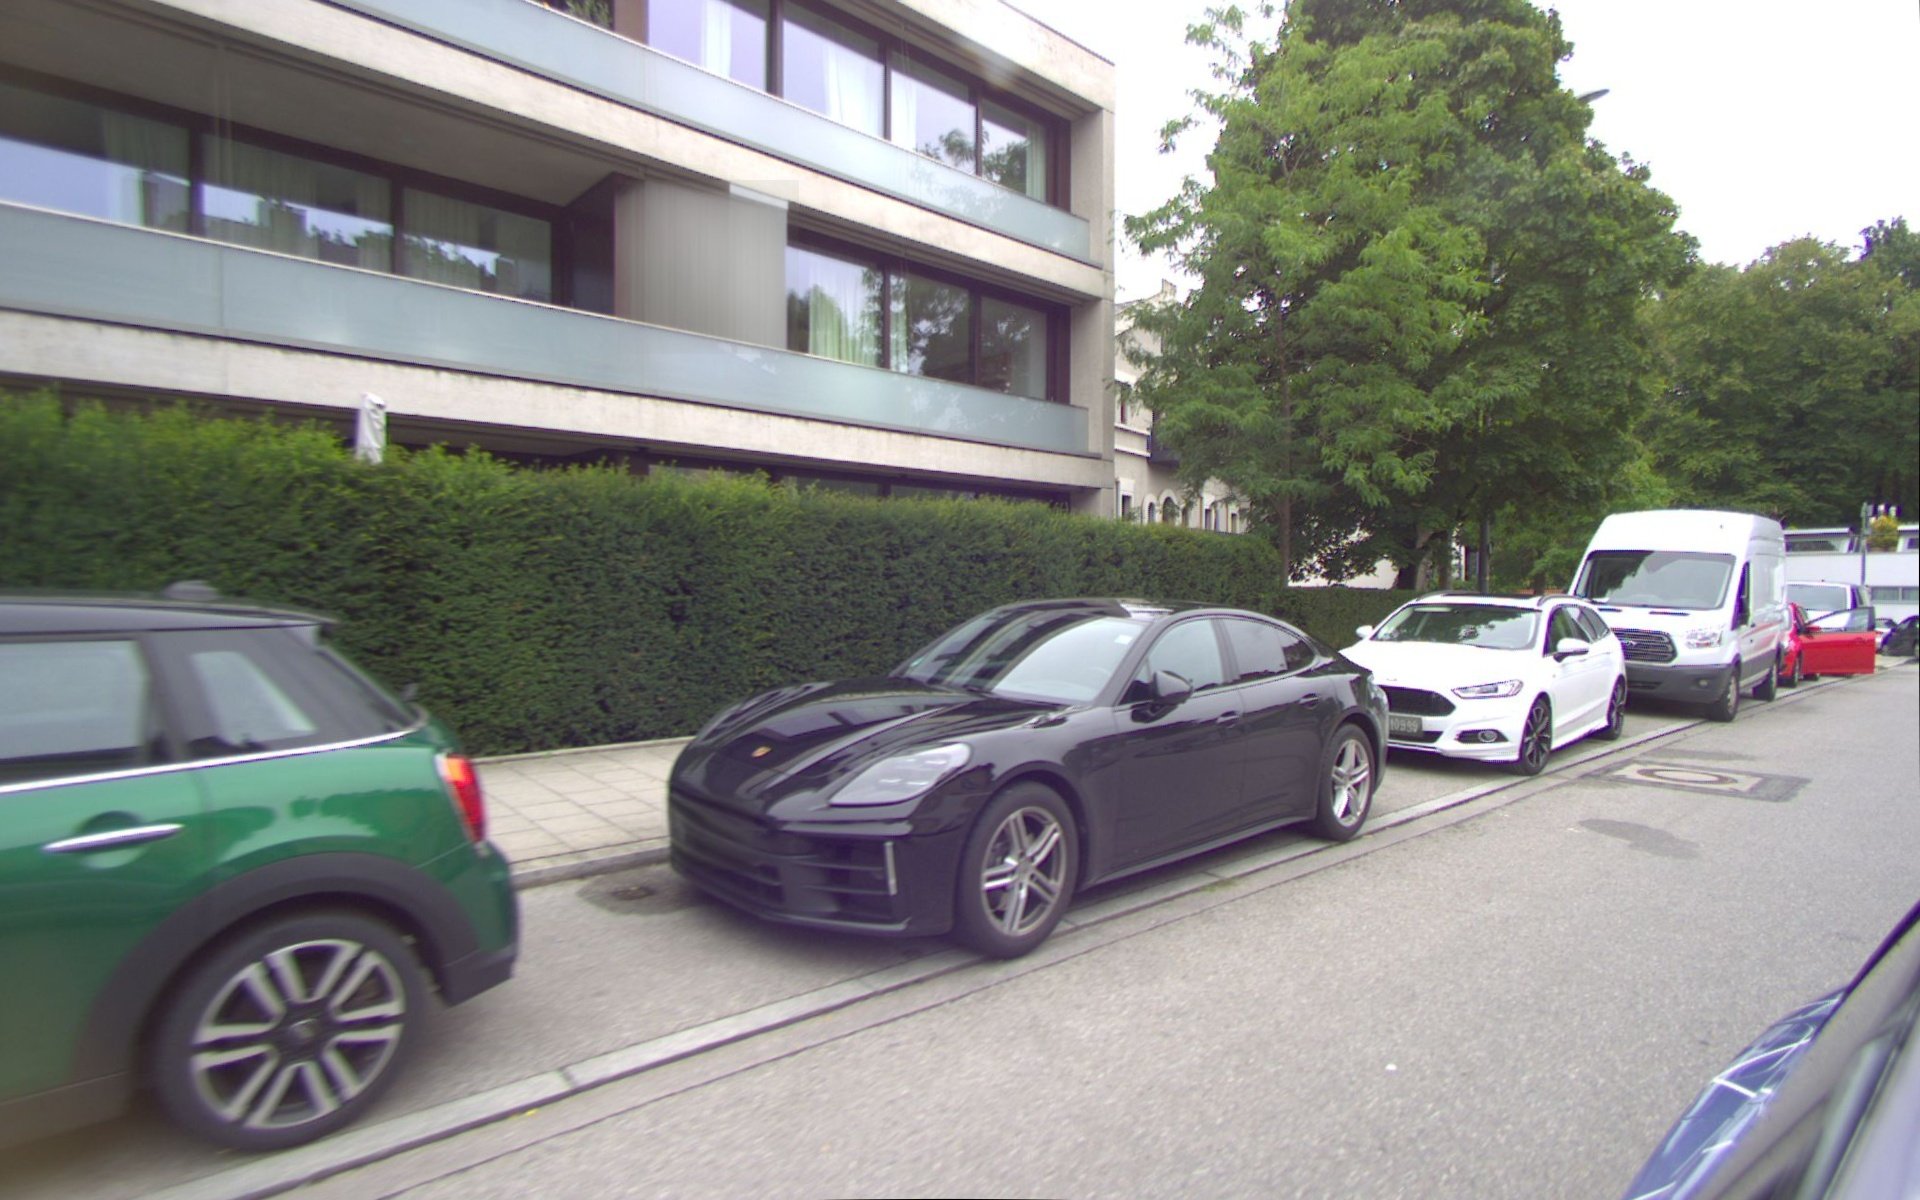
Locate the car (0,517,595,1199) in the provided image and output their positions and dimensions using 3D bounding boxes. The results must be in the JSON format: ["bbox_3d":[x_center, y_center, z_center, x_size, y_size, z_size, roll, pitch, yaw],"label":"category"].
[{"bbox_3d":[-3.230,0.556,2.354,4.132,1.548,1.730,0,2,-42],"label":"car"}]

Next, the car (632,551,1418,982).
[{"bbox_3d":[0.850,0.587,5.820,5.118,1.525,1.283,0,2,-42],"label":"car"}]

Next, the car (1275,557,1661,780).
[{"bbox_3d":[5.136,0.492,9.833,1.872,1.589,4.920,4,2,45],"label":"car"}]

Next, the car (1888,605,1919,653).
[{"bbox_3d":[30.648,0.904,31.265,1.879,1.465,3.974,-2,-3,27],"label":"car"}]

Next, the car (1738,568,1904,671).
[{"bbox_3d":[18.659,0.361,21.848,4.983,1.928,1.939,0,2,-41],"label":"car"}]

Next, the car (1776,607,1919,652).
[{"bbox_3d":[31.742,1.051,35.997,1.902,1.465,4.019,2,-2,-8],"label":"car"}]

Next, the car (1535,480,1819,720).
[{"bbox_3d":[10.303,-0.027,14.297,5.986,2.719,2.082,1,2,-44],"label":"car"}]

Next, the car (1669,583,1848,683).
[{"bbox_3d":[14.716,0.526,18.540,4.757,1.525,1.873,0,3,-44],"label":"car"}]
